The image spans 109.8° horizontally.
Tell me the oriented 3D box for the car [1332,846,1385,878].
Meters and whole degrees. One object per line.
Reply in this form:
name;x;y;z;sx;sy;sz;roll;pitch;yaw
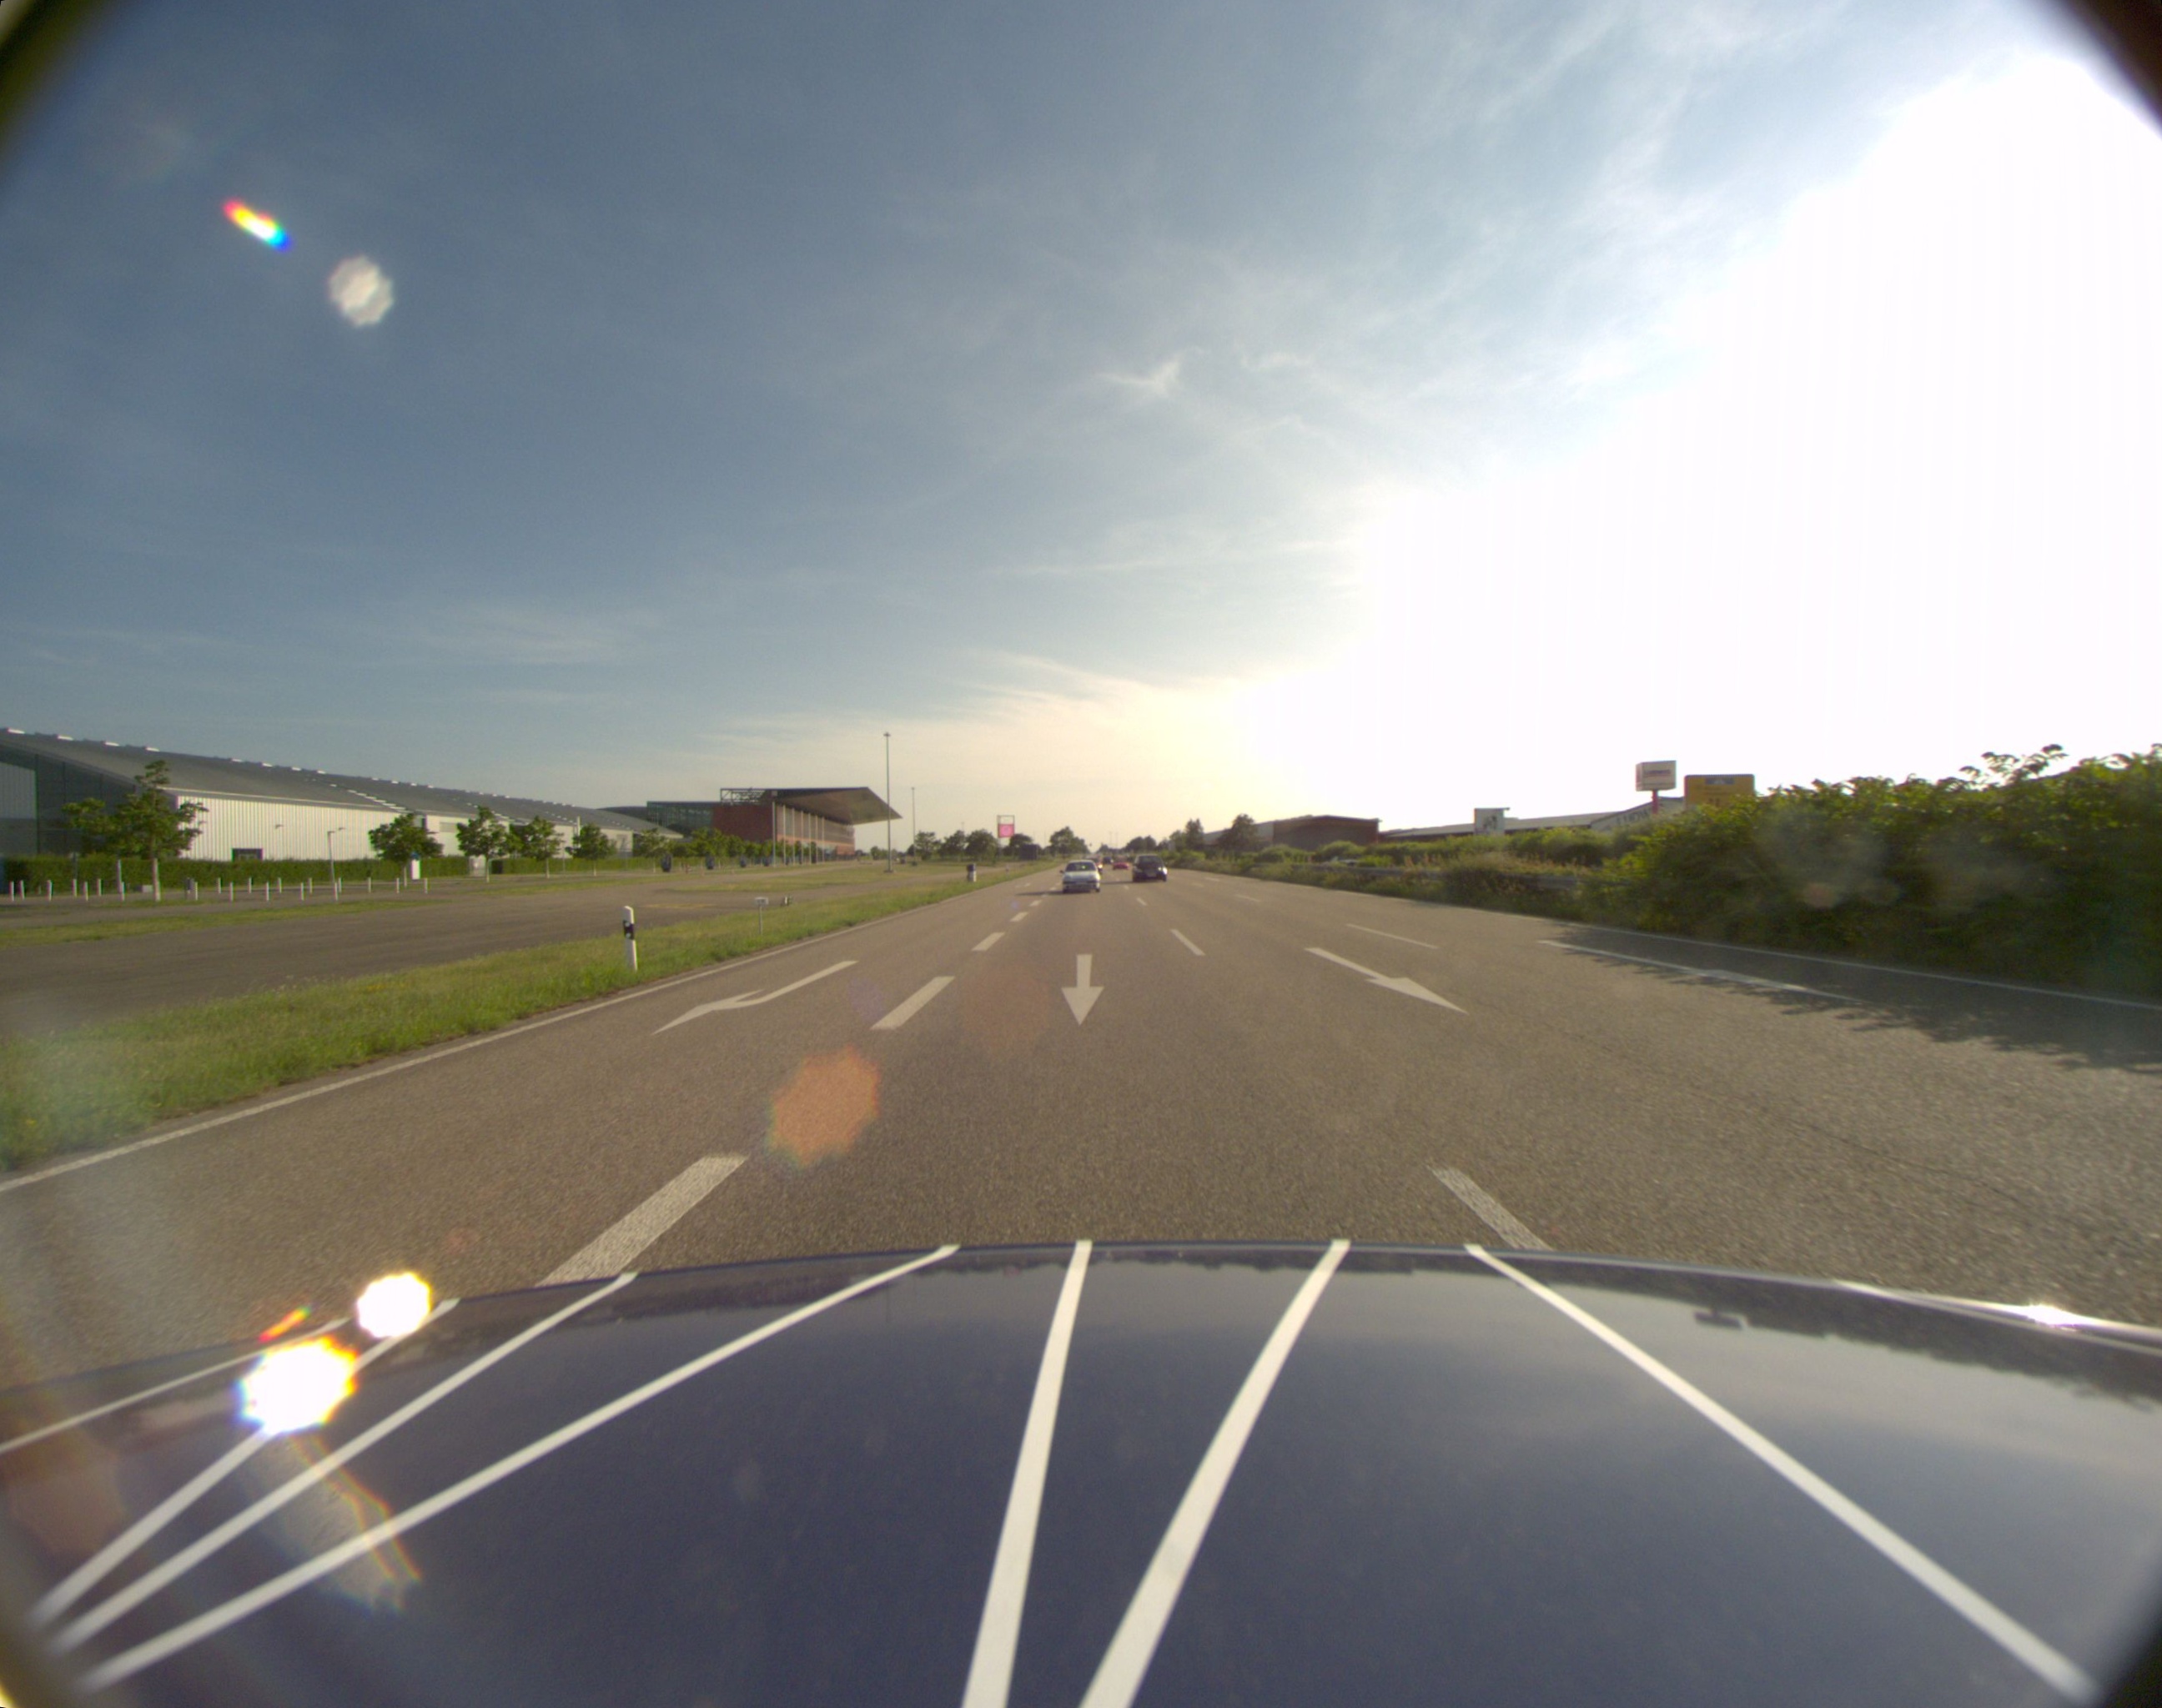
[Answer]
car;15.047;0.410;41.382;1.599;1.634;3.460;-1;0;0

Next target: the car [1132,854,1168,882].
car;3.957;0.776;43.770;1.758;1.499;3.422;-1;0;0

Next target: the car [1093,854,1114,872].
car;1.945;0.745;66.089;1.751;1.512;3.739;-2;0;1

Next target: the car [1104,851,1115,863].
car;5.330;0.538;142.072;1.998;2.002;4.000;-1;0;1

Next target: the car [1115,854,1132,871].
car;4.896;0.953;87.460;1.799;1.926;4.000;-1;0;1

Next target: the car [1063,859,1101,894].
car;0.059;0.956;33.661;1.578;1.371;3.452;-2;0;1
